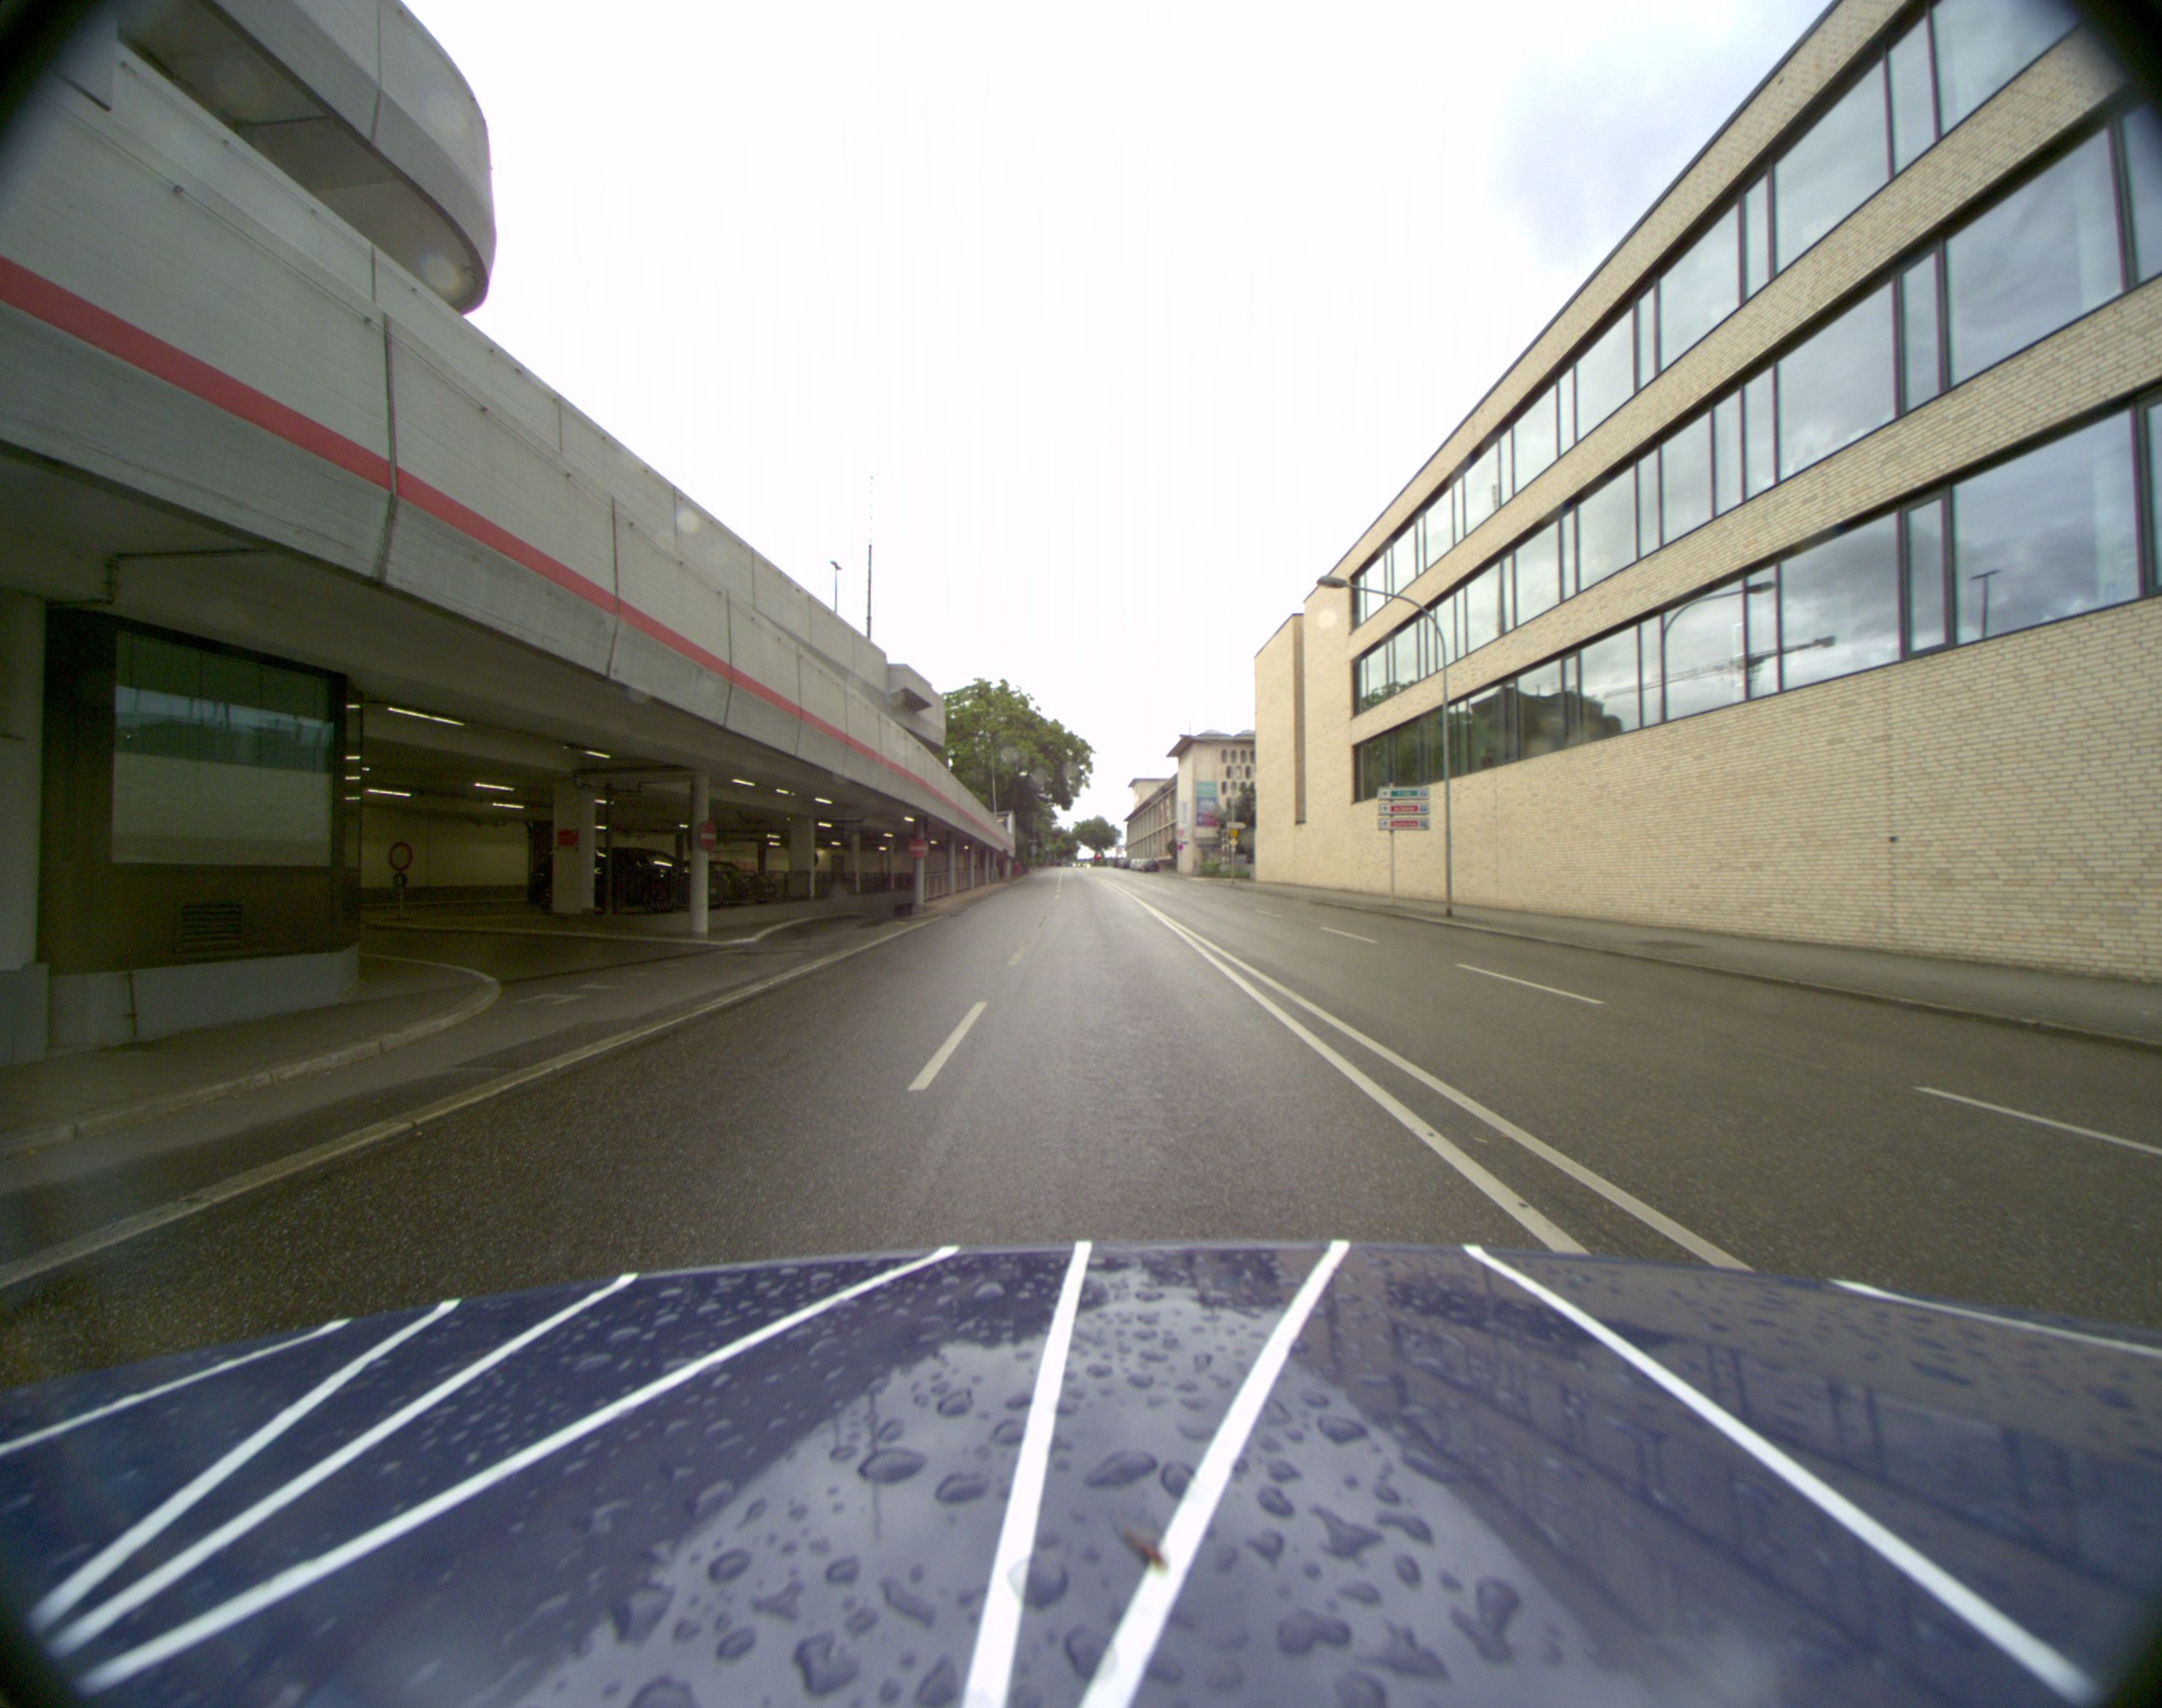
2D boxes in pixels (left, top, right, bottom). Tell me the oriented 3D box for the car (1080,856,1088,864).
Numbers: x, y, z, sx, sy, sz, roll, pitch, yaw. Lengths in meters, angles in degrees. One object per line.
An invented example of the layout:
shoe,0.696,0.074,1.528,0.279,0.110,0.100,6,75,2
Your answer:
car,0.766,1.702,203.345,1.806,2.002,3.997,-2,1,-6

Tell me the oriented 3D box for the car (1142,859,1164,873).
car,8.599,1.423,90.983,1.999,1.520,3.999,-2,1,-2

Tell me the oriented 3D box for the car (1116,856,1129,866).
car,7.801,1.331,142.825,1.999,1.637,3.998,-3,2,-2

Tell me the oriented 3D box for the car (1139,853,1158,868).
car,8.512,0.798,96.469,1.999,1.632,3.999,-2,1,-1

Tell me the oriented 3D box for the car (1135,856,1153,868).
car,8.420,1.068,101.807,1.998,1.503,3.999,-2,1,0

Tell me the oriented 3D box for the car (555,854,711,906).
car,-13.615,0.784,23.212,3.730,1.496,1.808,0,-1,5

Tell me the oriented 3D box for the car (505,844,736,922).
car,-11.198,0.699,18.658,4.585,1.630,1.823,2,-1,5

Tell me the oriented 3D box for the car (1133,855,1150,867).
car,8.540,0.969,106.960,1.999,1.482,4.185,-2,1,-1

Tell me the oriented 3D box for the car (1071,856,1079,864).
car,-1.573,1.597,210.903,1.998,2.002,3.999,-2,1,1

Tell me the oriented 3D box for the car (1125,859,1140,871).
car,8.250,1.671,121.688,1.999,1.702,3.999,-3,1,-1
